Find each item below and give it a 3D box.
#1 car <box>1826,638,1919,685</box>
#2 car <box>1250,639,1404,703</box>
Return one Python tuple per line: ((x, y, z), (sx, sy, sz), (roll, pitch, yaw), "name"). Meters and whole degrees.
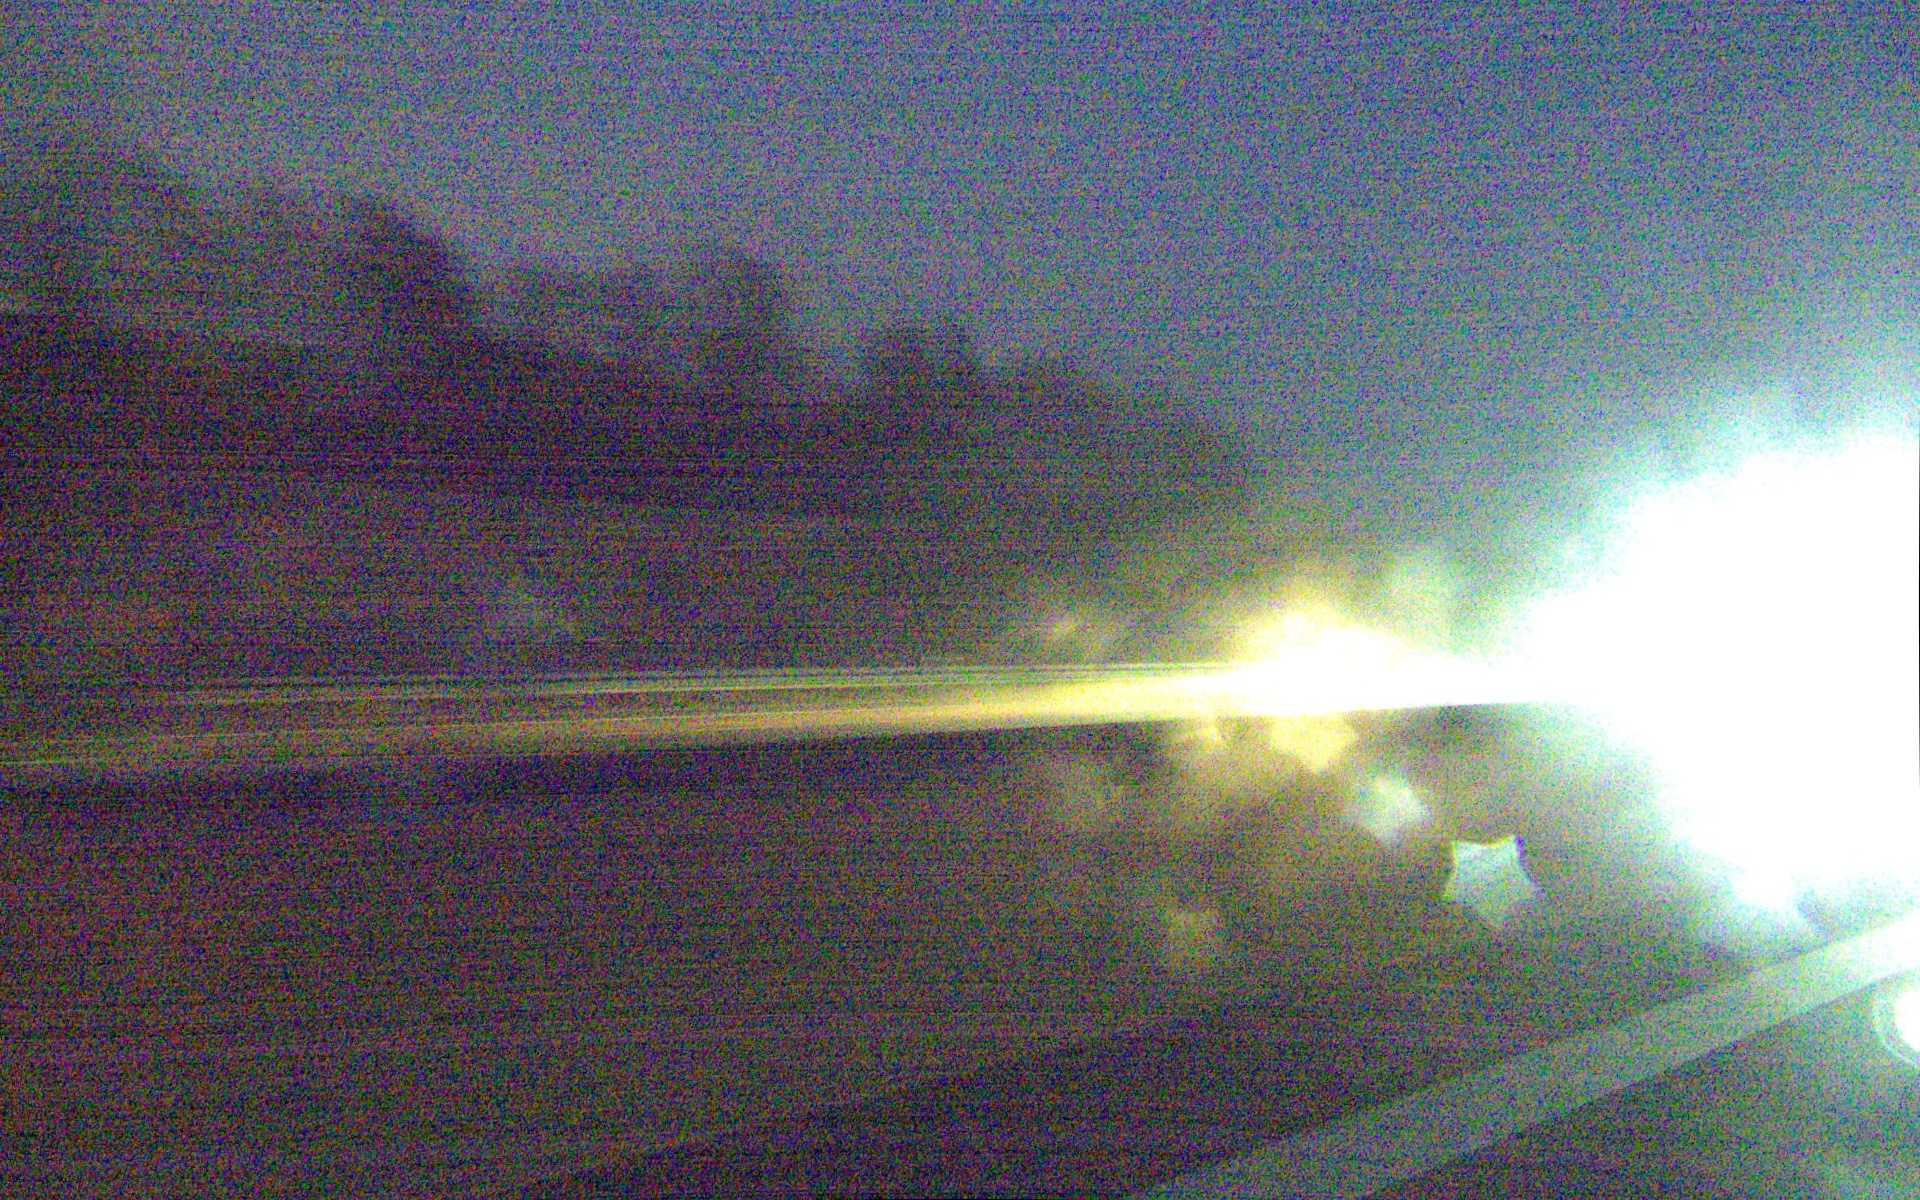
((36.798, 2.416, 40.099), (4.537, 1.782, 1.984), (1, -2, -30), "car")
((10.682, 1.994, 29.192), (4.196, 1.737, 1.984), (1, -2, -30), "car")
